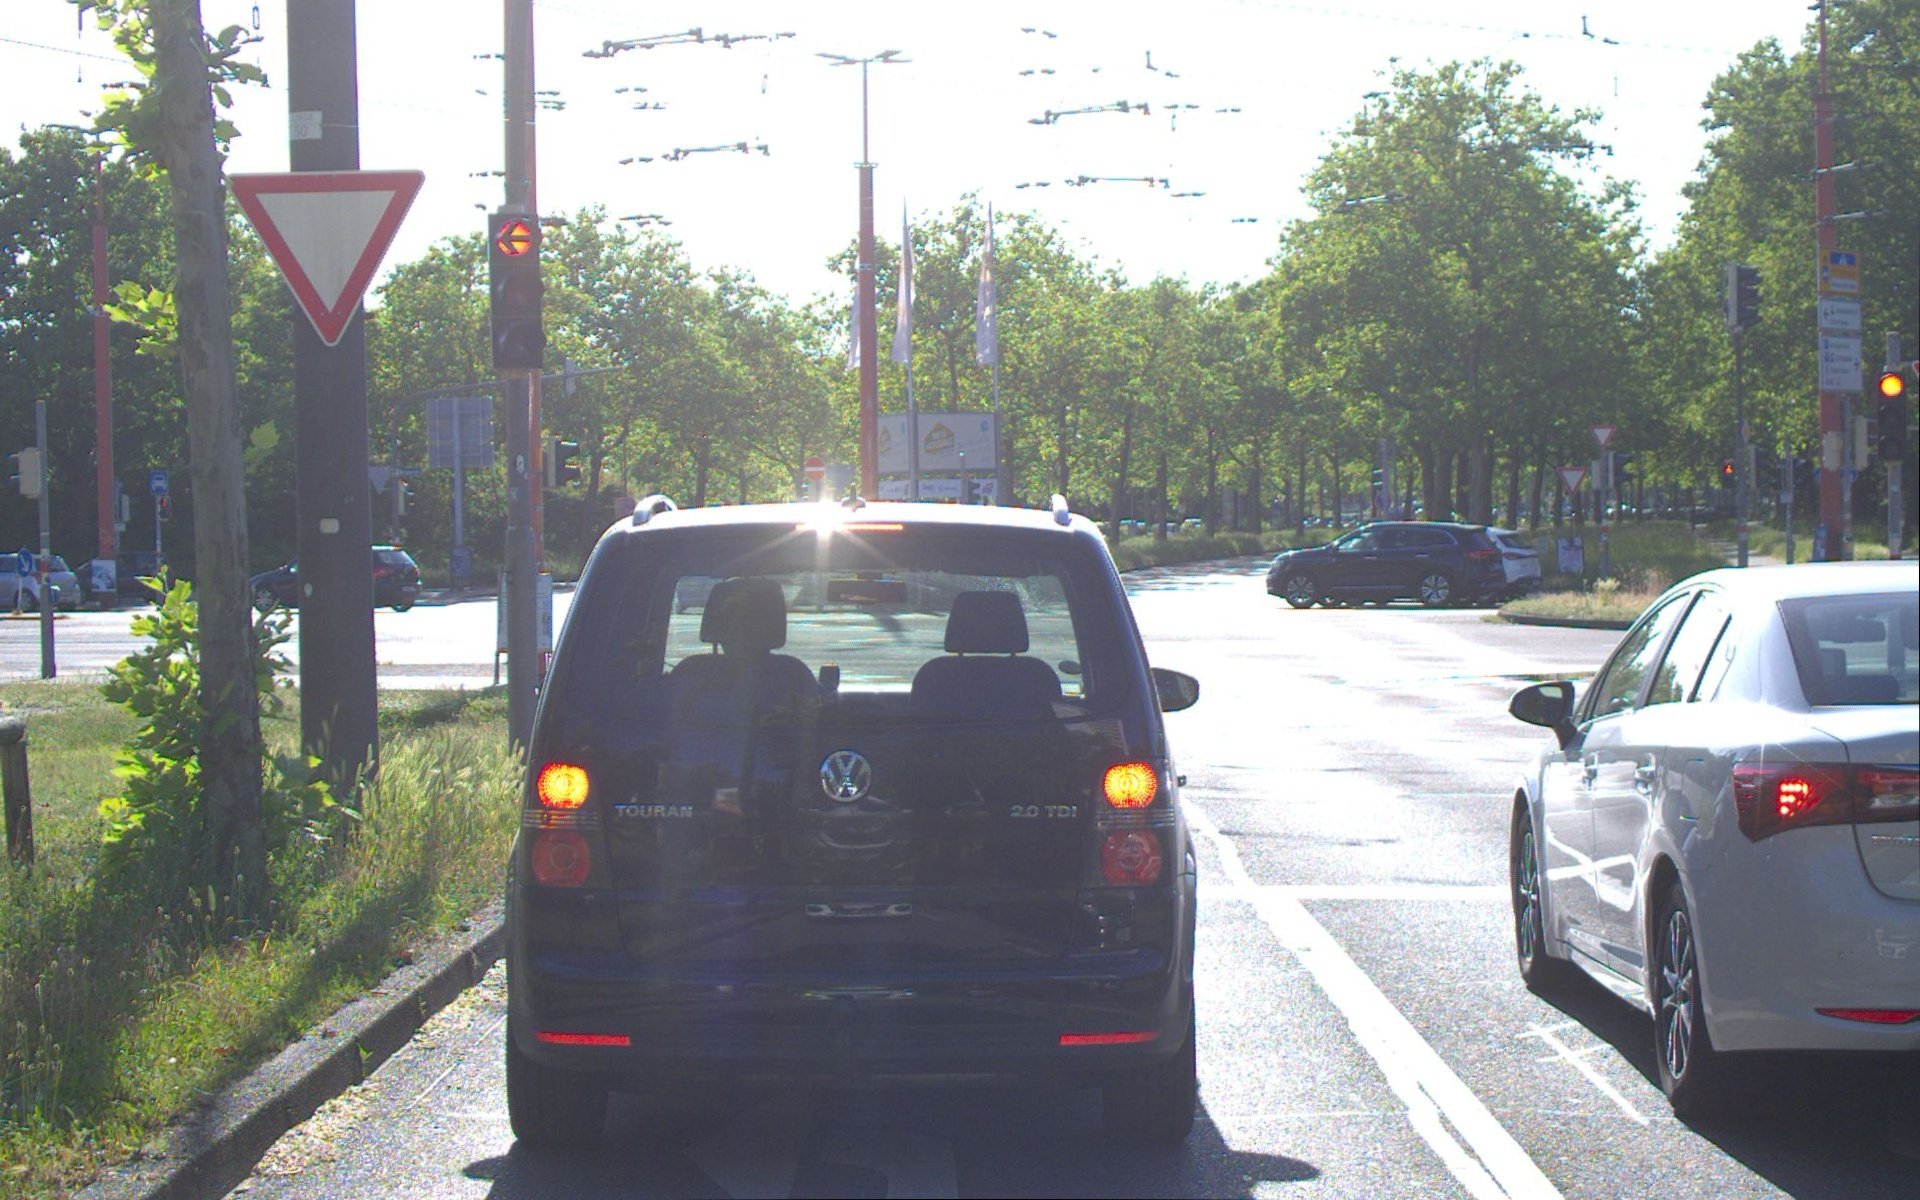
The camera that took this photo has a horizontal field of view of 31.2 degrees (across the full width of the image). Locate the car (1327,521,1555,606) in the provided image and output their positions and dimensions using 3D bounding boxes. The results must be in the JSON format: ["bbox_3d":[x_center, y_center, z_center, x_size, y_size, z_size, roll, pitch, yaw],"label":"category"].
[{"bbox_3d":[9.706,-0.747,69.474,4.236,1.675,1.700,0,1,29],"label":"car"}]

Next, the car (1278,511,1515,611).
[{"bbox_3d":[8.410,-0.760,66.210,4.198,1.877,1.764,0,1,23],"label":"car"}]

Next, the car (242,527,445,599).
[{"bbox_3d":[-13.764,-0.831,76.829,4.028,1.590,1.998,0,1,23],"label":"car"}]

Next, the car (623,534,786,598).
[{"bbox_3d":[-5.726,-0.755,76.995,3.441,1.364,1.288,1,1,26],"label":"car"}]

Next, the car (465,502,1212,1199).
[{"bbox_3d":[-0.306,0.553,9.825,1.700,1.616,3.897,0,1,-1],"label":"car"}]

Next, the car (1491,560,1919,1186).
[{"bbox_3d":[2.718,0.620,10.107,1.720,1.433,4.198,1,1,1],"label":"car"}]

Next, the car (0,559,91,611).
[{"bbox_3d":[-23.806,-0.397,86.118,3.834,1.260,1.601,1,1,26],"label":"car"}]
